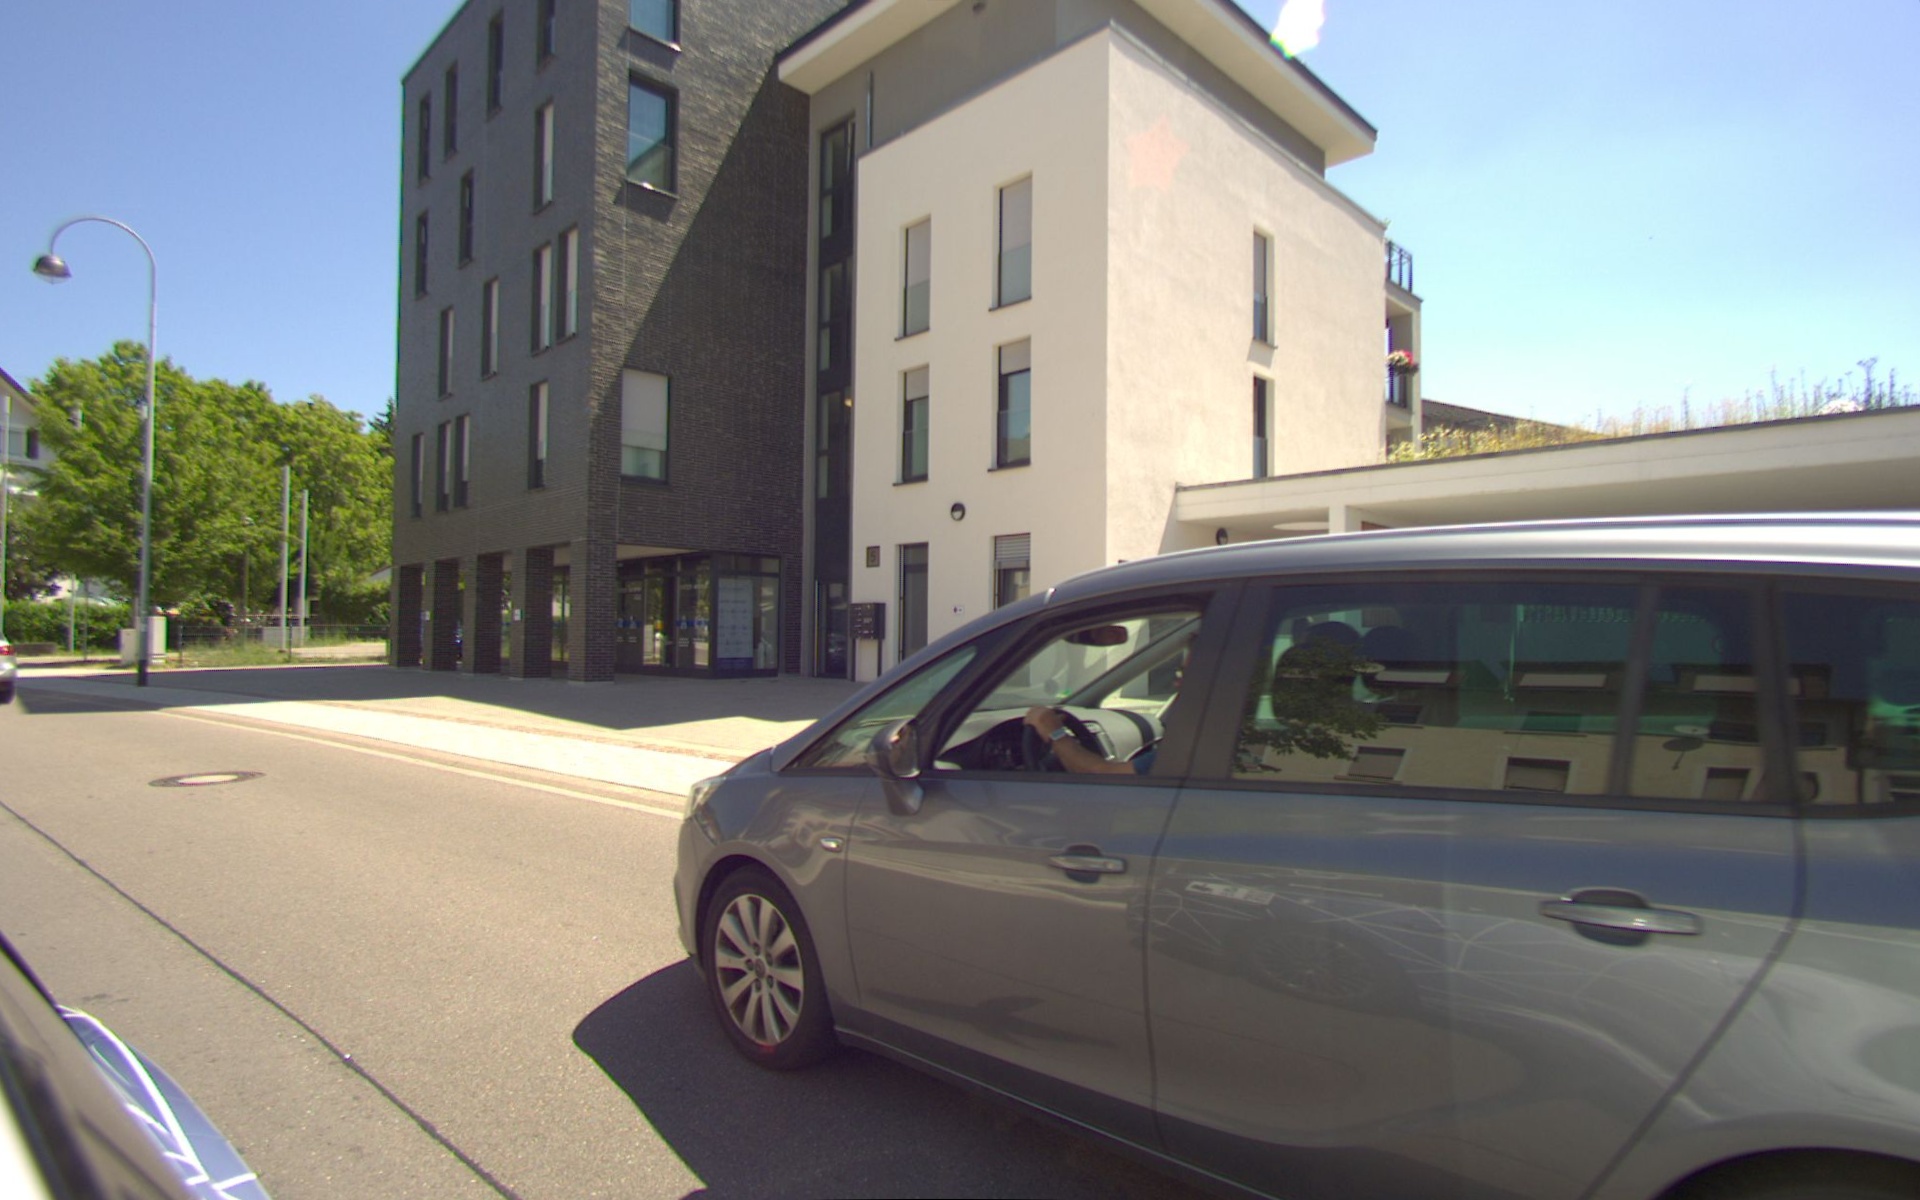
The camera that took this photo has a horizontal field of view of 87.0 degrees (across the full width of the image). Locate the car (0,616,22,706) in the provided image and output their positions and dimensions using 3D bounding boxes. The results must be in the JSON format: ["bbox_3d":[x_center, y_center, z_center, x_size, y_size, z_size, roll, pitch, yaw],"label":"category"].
[{"bbox_3d":[-16.909,0.967,16.414,3.837,1.407,1.653,-1,-2,34],"label":"car"}]

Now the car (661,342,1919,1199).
[{"bbox_3d":[1.103,0.520,2.805,4.237,1.671,1.920,-1,-1,45],"label":"car"}]

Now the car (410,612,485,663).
[{"bbox_3d":[-16.735,1.204,32.970,1.671,1.497,4.091,4,-3,-33],"label":"car"}]
